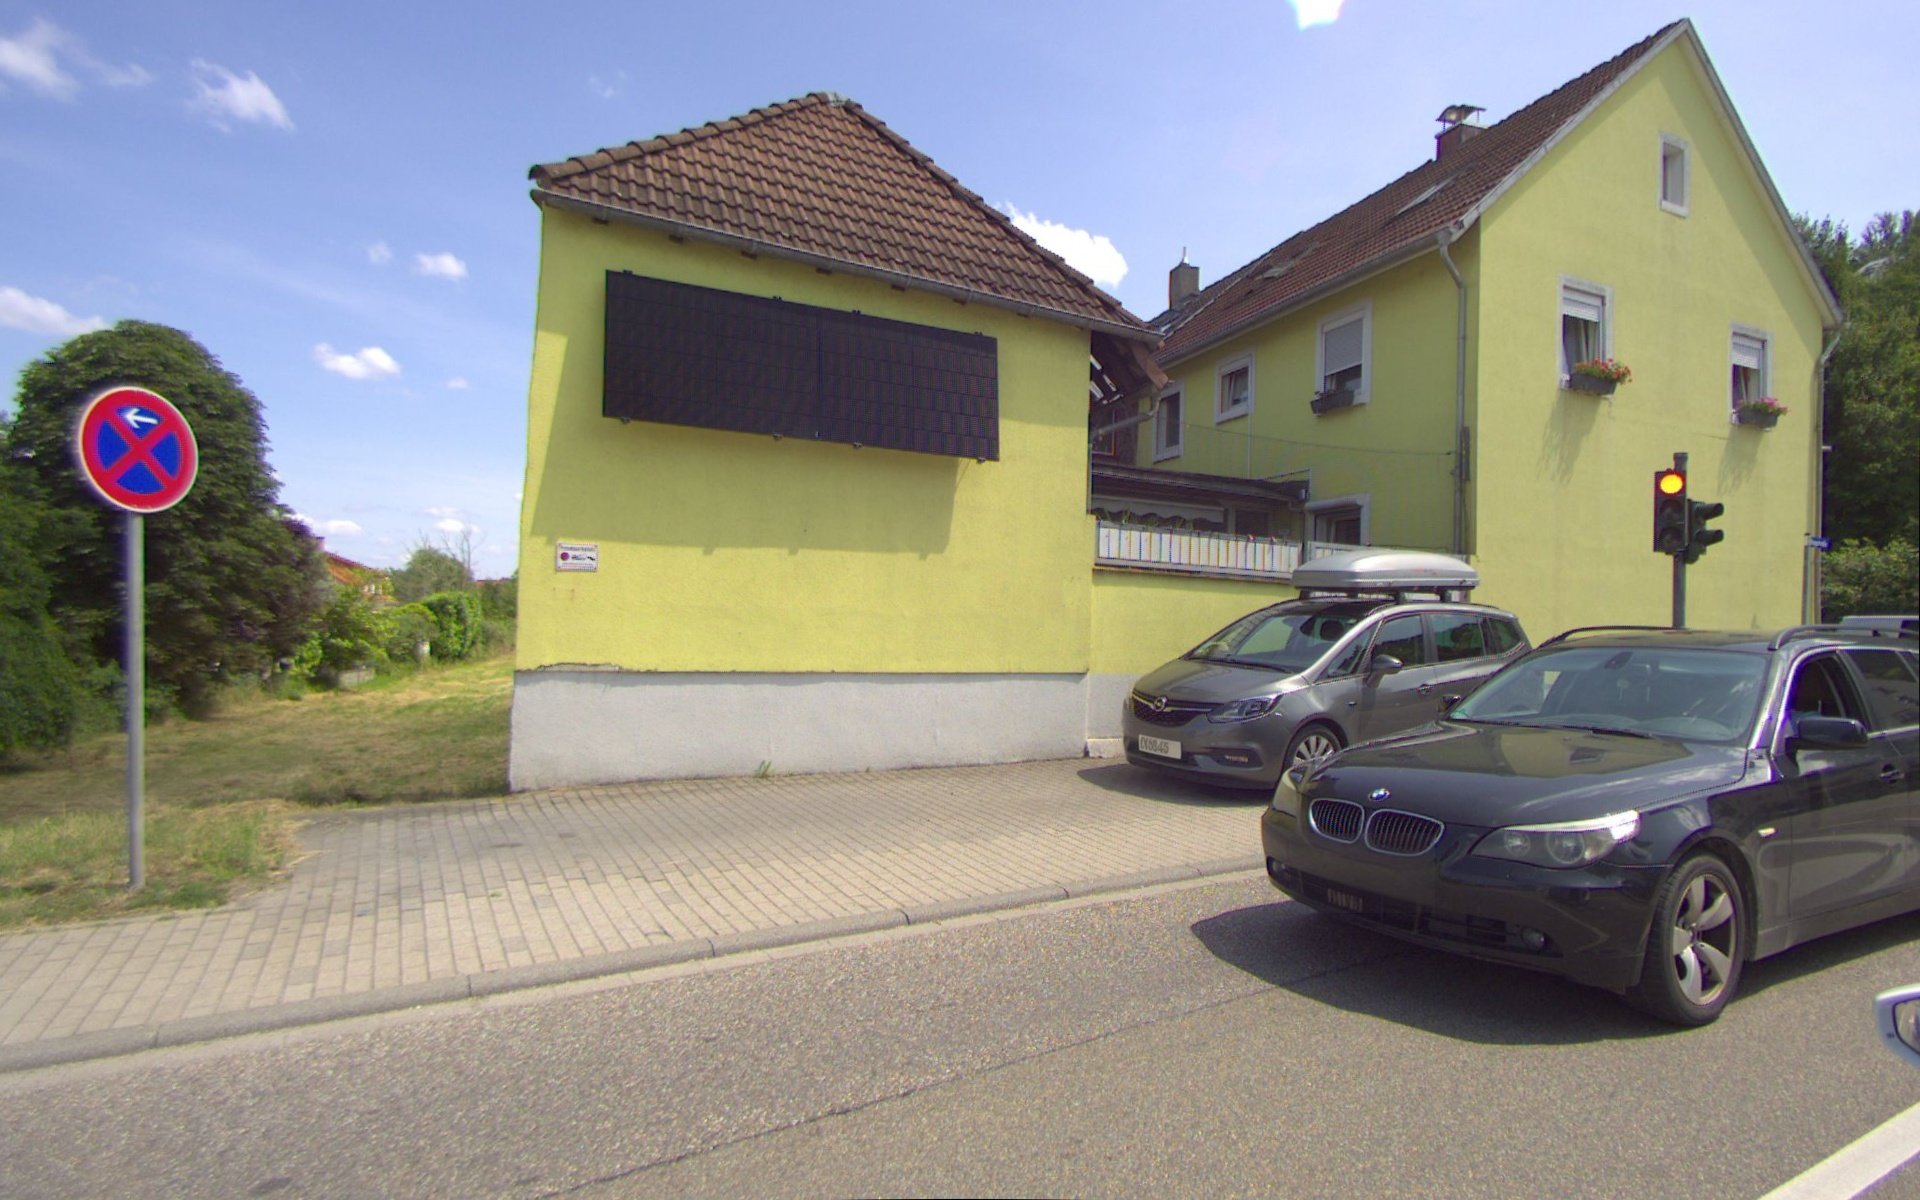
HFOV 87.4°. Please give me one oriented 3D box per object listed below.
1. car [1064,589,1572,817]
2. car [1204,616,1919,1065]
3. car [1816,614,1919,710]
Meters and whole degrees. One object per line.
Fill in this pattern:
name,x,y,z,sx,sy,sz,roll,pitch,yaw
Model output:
car,3.425,0.799,9.412,4.576,1.657,1.984,1,1,-30
car,3.657,0.857,5.197,4.612,1.461,1.856,1,-2,-28
car,19.709,1.253,19.100,1.971,1.845,4.865,3,-2,-21
